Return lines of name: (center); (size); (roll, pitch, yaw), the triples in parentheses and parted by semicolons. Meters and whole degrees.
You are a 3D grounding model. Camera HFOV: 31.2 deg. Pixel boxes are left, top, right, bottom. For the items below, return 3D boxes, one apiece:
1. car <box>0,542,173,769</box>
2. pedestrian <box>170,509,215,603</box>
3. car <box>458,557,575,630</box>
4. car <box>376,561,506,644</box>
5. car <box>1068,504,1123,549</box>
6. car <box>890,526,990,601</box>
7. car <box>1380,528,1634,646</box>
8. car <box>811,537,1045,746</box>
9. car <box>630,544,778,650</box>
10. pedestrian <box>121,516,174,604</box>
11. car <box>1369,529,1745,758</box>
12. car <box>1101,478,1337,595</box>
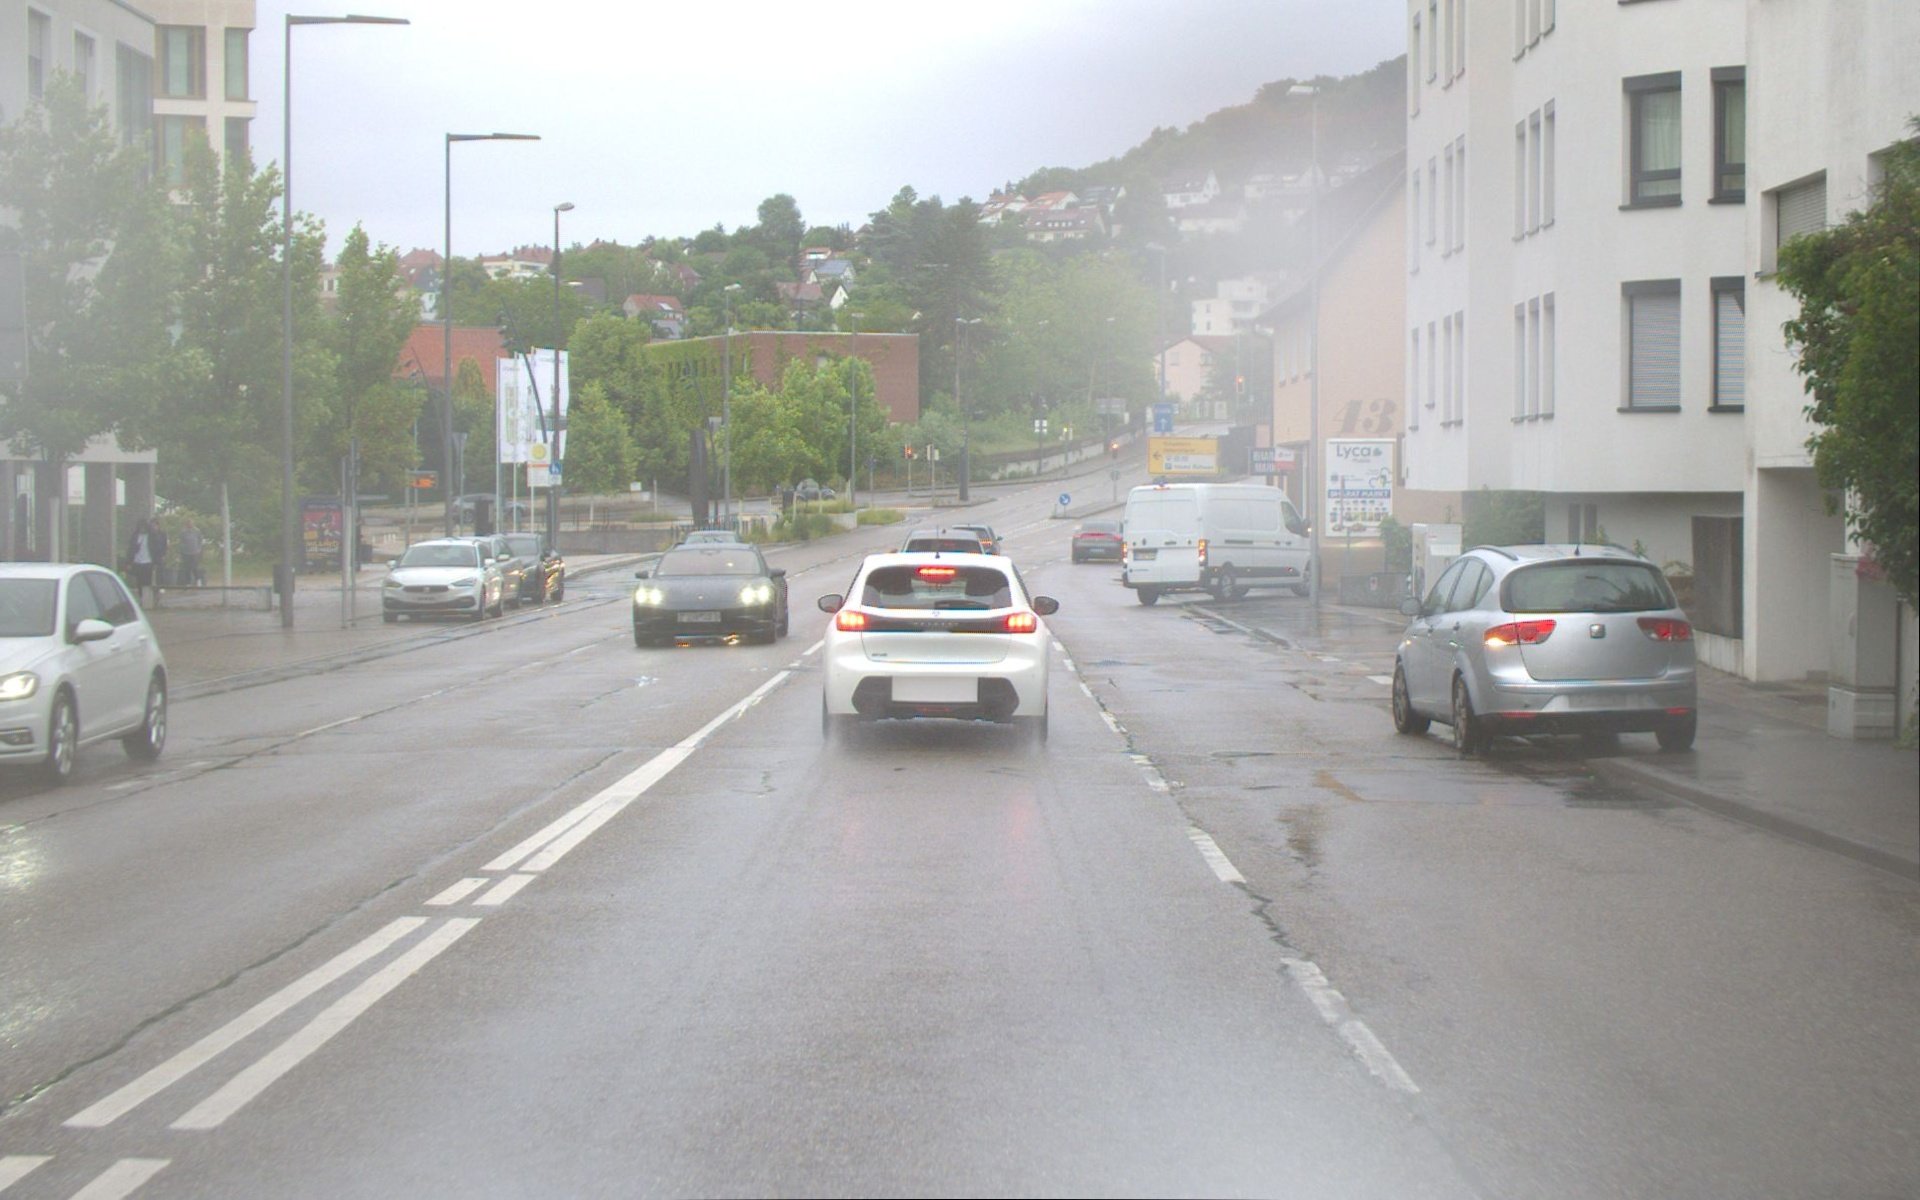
car: (-6.742, 0.378, 23.517); (1.649, 1.413, 4.138); (-3, 0, 1)
pedestrian: (-17.558, -1.001, 78.661); (0.748, 2.138, 0.770); (0, 0, 13)
car: (-9.566, -0.147, 74.437); (1.691, 1.505, 4.577); (-1, 0, 3)
car: (-9.349, 0.040, 62.209); (1.795, 1.457, 4.479); (0, 0, -1)
car: (4.767, -2.603, 121.327); (1.734, 1.383, 3.353); (1, 5, -1)
car: (-0.345, -0.666, 61.750); (1.741, 1.291, 3.334); (-1, 1, 0)
car: (9.109, -0.236, 57.440); (3.791, 1.524, 1.820); (6, 2, 0)
car: (-0.187, 0.299, 26.990); (1.691, 1.514, 3.933); (0, 0, 1)
car: (-3.597, -0.049, 48.935); (1.768, 1.409, 4.526); (-1, 0, 0)
pedestrian: (-16.172, -0.799, 68.424); (0.808, 1.732, 1.003); (-1, 0, 0)
car: (4.518, 0.340, 26.691); (2.011, 1.616, 4.361); (1, -1, -2)
car: (5.642, -1.333, 73.773); (2.295, 2.374, 6.613); (-1, 0, 31)
